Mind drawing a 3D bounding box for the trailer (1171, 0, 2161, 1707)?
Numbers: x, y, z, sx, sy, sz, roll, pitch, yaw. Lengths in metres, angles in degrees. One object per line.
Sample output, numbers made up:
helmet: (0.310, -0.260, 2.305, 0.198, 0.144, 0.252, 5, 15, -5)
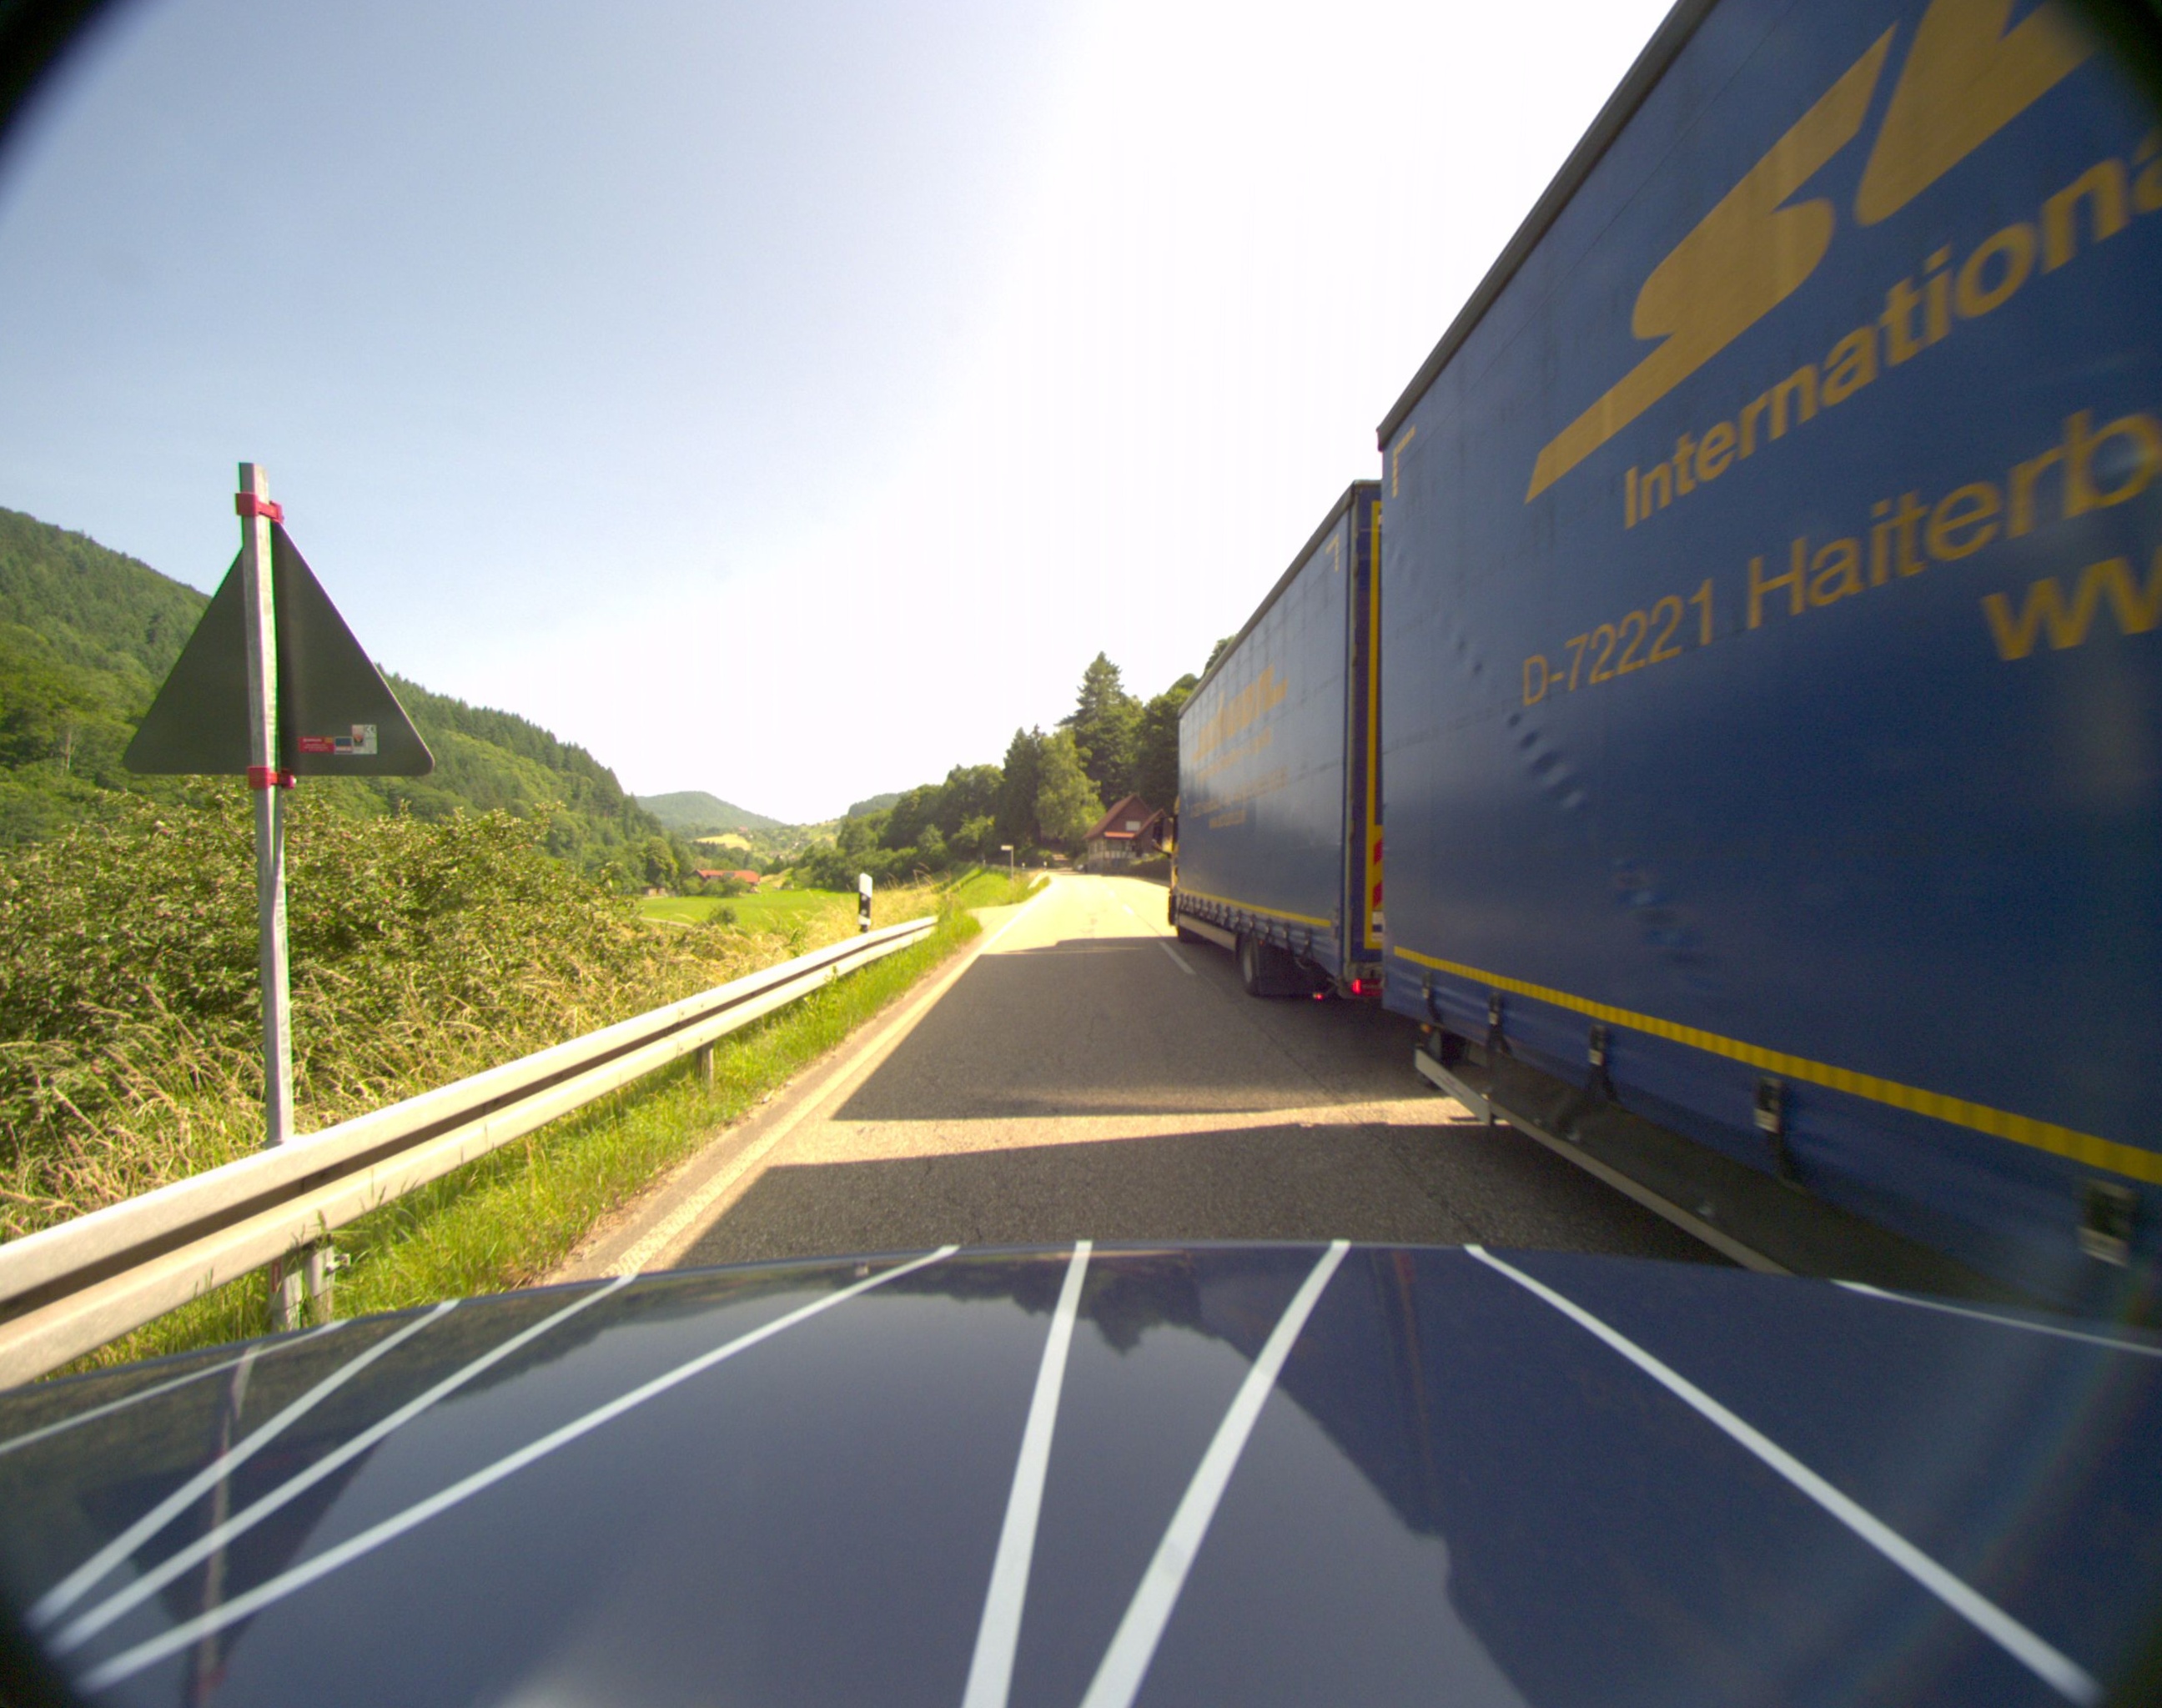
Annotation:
trailer: (3.090, -0.501, 3.798, 3.268, 4.391, 15.317, -2, -1, 0)

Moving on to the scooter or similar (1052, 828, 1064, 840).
scooter or similar: (-4.652, -3.989, 152.420, 1.984, 2.015, 4.402, -4, 1, -7)

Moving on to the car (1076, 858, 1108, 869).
car: (1.418, 1.196, 98.016, 3.831, 1.408, 1.855, 0, -1, -14)

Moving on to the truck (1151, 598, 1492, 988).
truck: (3.064, -0.640, 12.033, 3.196, 4.370, 6.572, -2, -1, 0)

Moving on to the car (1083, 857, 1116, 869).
car: (2.310, 1.110, 95.661, 3.831, 1.424, 1.861, 1, 1, -14)
